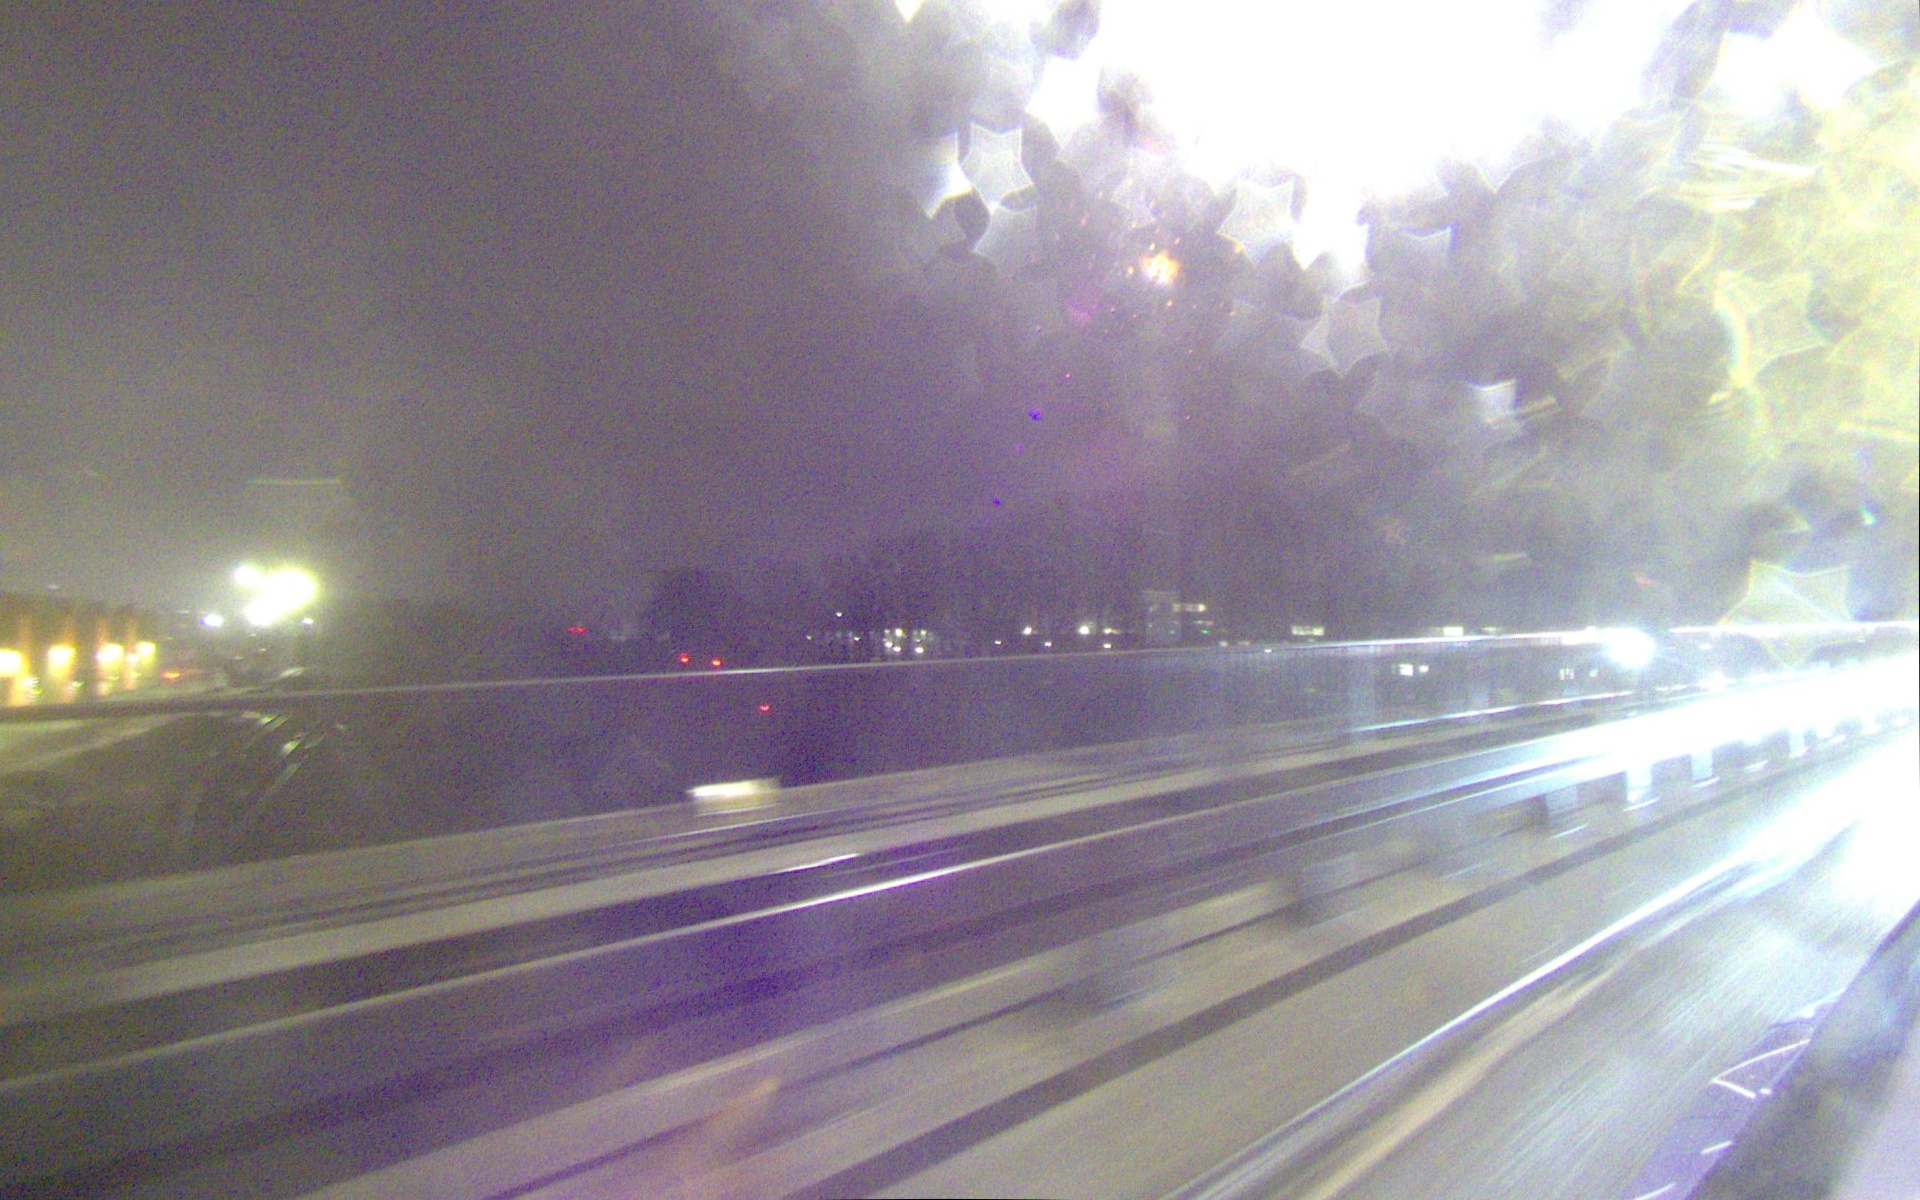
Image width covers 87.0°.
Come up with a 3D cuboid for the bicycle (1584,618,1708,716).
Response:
[{"bbox_3d":[8.252,0.762,12.132,2.130,1.047,0.486,0,1,-34],"label":"bicycle"}]

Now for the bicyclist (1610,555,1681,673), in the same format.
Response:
[{"bbox_3d":[8.179,0.160,12.081,0.749,1.366,0.454,1,-1,-34],"label":"bicyclist"}]
